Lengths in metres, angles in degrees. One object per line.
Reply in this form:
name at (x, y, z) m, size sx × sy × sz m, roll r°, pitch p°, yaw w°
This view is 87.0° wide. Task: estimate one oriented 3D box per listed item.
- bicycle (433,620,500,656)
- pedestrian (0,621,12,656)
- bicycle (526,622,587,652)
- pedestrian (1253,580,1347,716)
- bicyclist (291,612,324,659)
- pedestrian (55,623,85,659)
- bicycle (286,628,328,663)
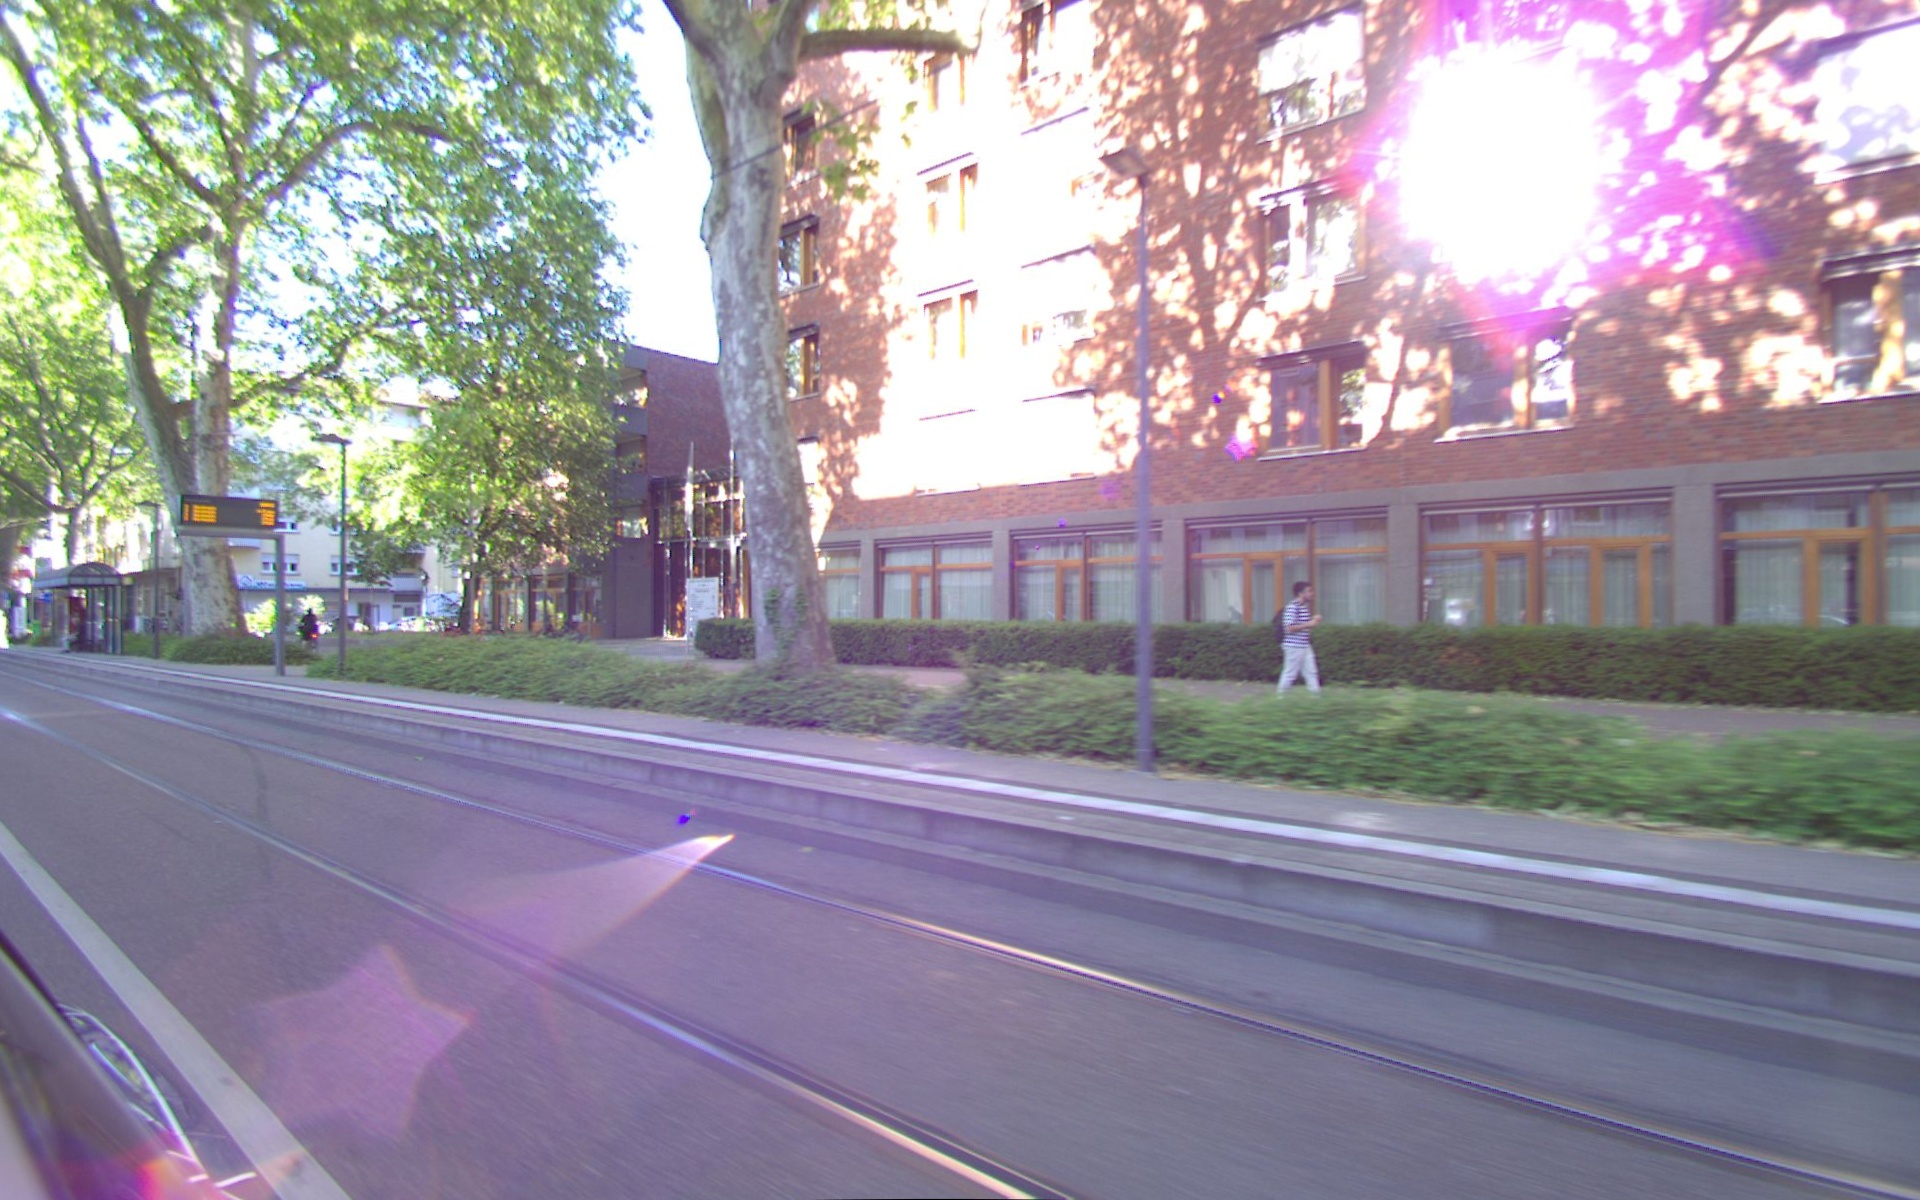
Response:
bicycle at (-17.824, 1.354, 36.574) m, size 2.067 × 1.198 × 0.883 m, roll -1°, pitch 0°, yaw -33°
pedestrian at (-43.911, 1.761, 46.344) m, size 0.561 × 1.606 × 0.699 m, roll -1°, pitch 0°, yaw 42°
bicycle at (-15.512, 1.408, 38.902) m, size 2.012 × 1.102 × 0.821 m, roll -1°, pitch 0°, yaw 4°
pedestrian at (4.591, 0.621, 13.675) m, size 0.972 × 1.757 × 0.756 m, roll -1°, pitch 0°, yaw 41°
bicyclist at (-22.100, 1.189, 34.266) m, size 0.892 × 1.526 × 0.725 m, roll -1°, pitch 0°, yaw 44°
pedestrian at (-30.533, 1.393, 34.720) m, size 0.473 × 1.213 × 0.699 m, roll -1°, pitch 0°, yaw 42°
bicycle at (-22.164, 1.520, 34.330) m, size 2.039 × 1.102 × 0.738 m, roll -1°, pitch 0°, yaw 44°
